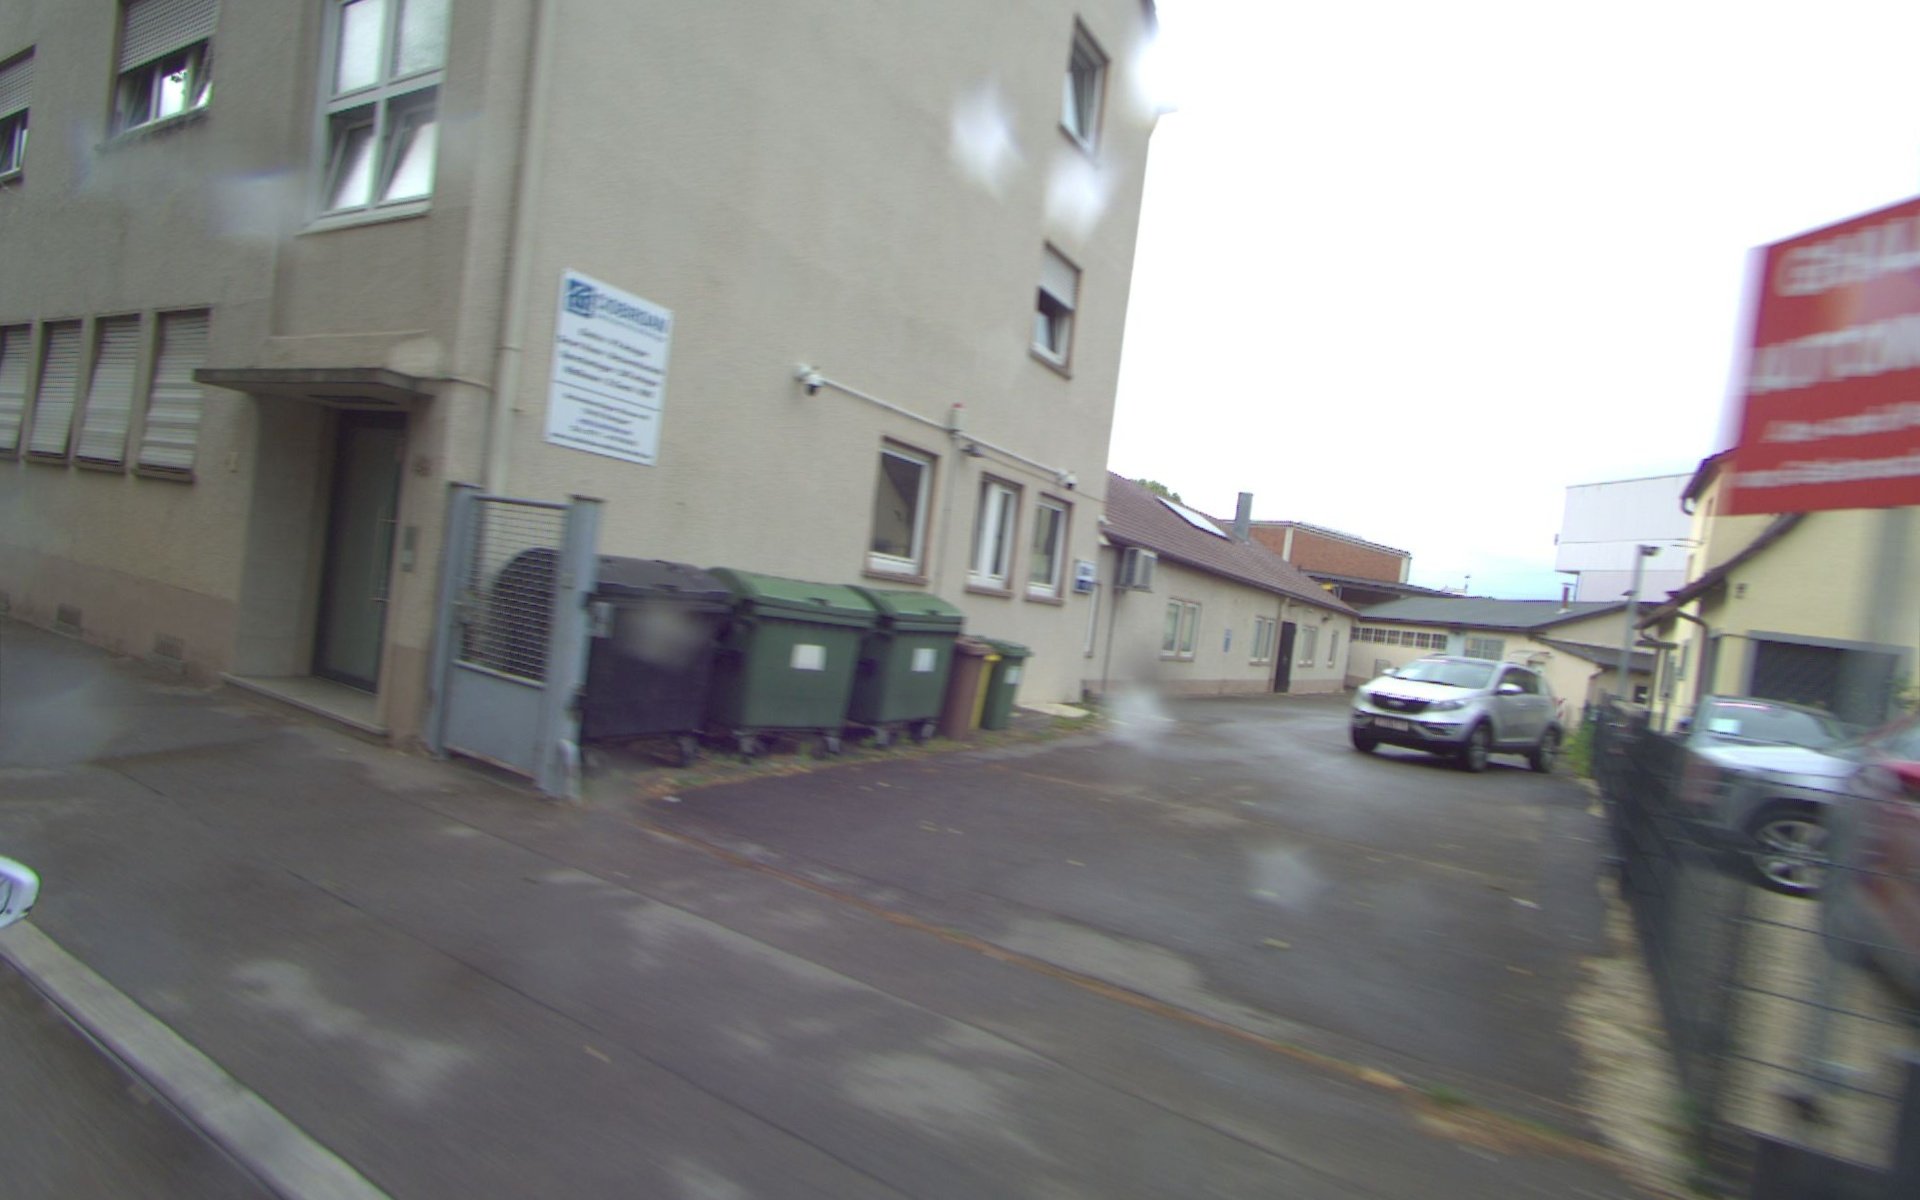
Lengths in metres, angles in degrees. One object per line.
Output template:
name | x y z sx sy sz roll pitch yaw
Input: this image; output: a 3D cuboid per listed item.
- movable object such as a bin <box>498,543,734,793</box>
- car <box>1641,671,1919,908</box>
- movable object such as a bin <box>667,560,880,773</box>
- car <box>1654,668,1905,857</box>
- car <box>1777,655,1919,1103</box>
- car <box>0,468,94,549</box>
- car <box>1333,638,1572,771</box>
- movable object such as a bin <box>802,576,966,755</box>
movable object such as a bin | -2.382 0.438 7.038 0.970 1.529 1.111 6 2 31
car | 7.710 1.579 7.995 3.567 1.548 1.812 5 -2 31
movable object such as a bin | -1.516 0.510 8.310 1.092 1.529 1.234 6 1 31
car | 9.677 1.863 12.192 1.744 1.702 3.777 6 -3 32
car | 5.009 1.221 4.146 1.839 1.756 4.237 6 -3 31
car | -31.741 -3.218 32.227 1.966 2.235 5.581 7 -2 30
car | 7.624 1.644 15.430 3.974 1.611 1.801 9 -3 -41
movable object such as a bin | -0.713 0.598 9.631 0.993 1.529 1.111 6 2 31
